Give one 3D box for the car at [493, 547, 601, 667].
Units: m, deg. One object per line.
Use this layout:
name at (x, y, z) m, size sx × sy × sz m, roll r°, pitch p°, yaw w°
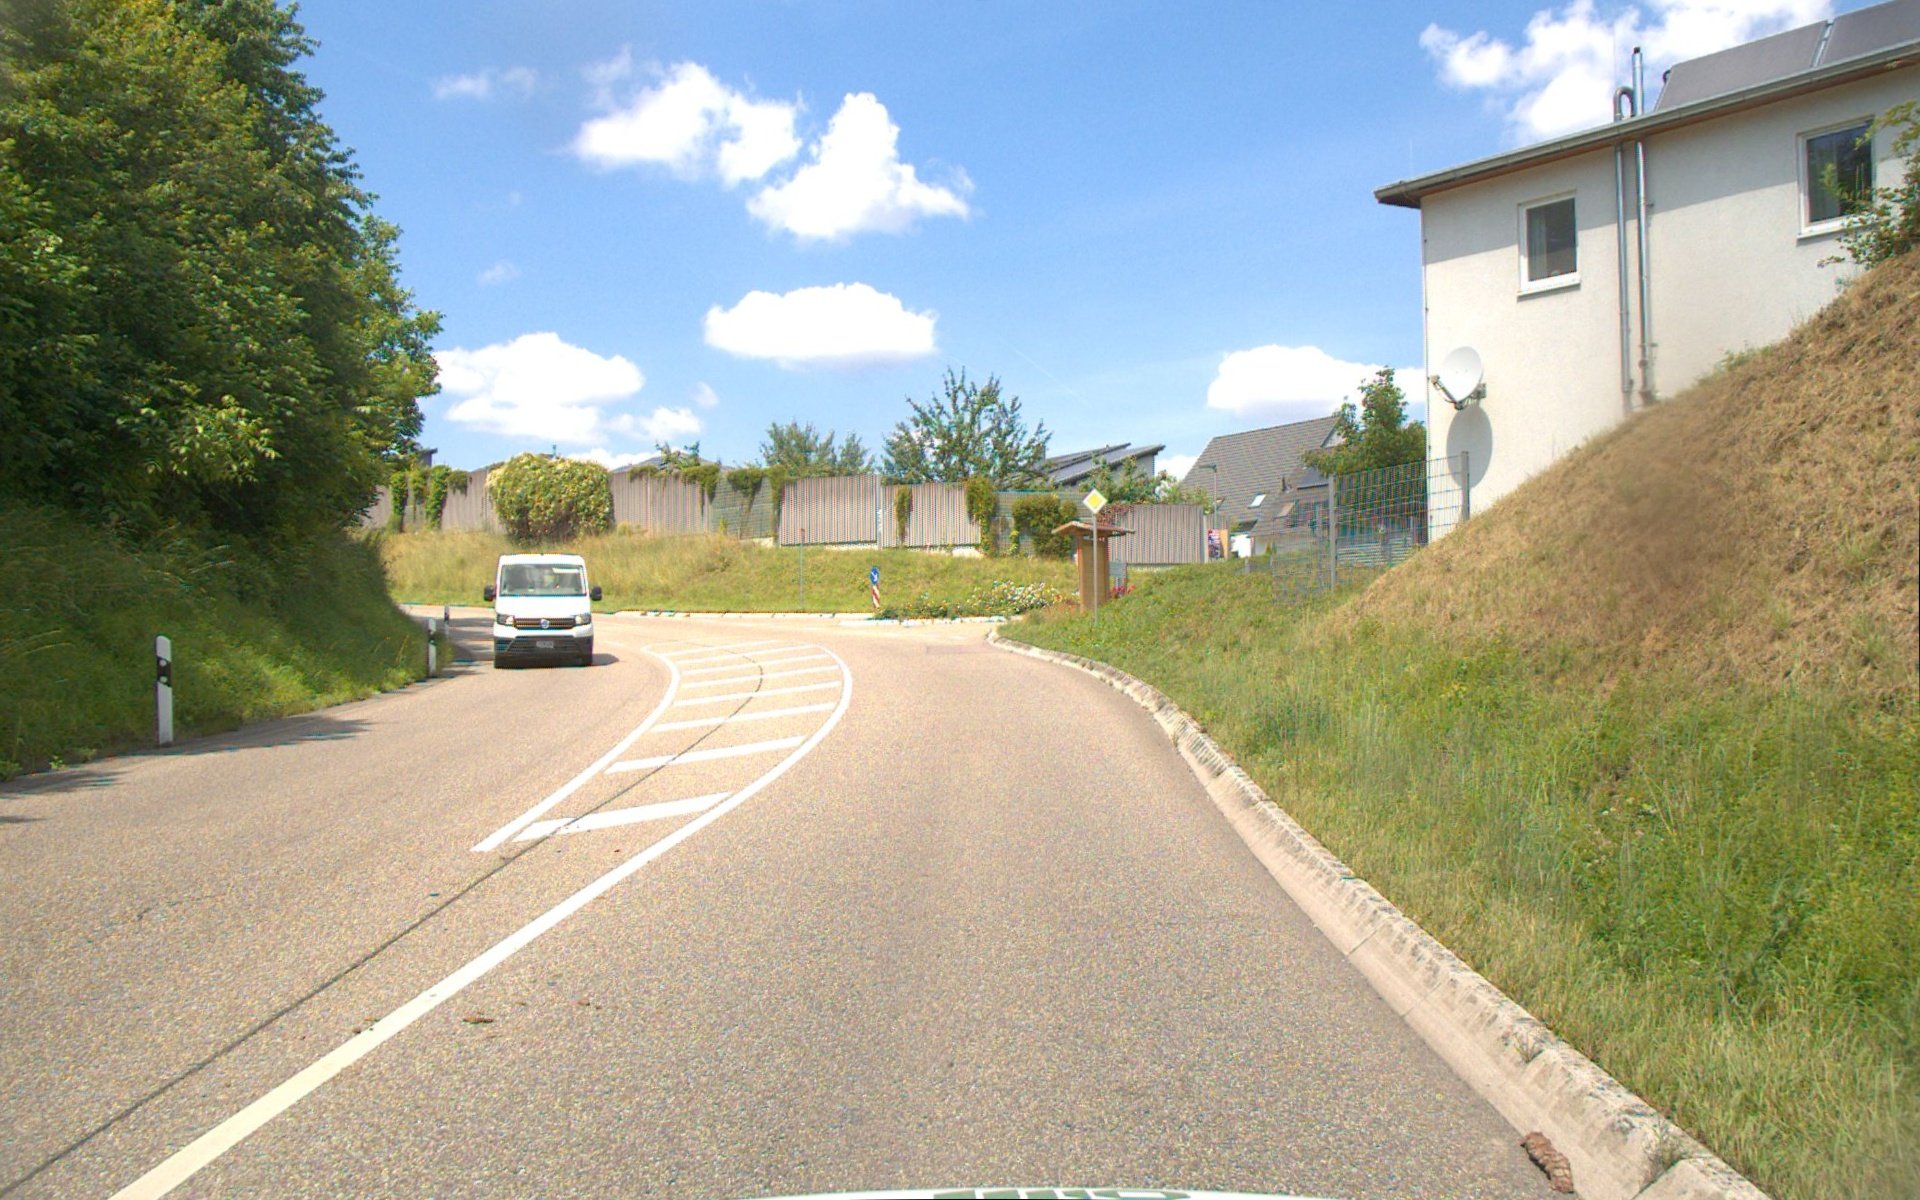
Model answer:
car at (-8.851, 0.136, 35.698) m, size 2.050 × 2.330 × 5.926 m, roll -1°, pitch 0°, yaw -13°
